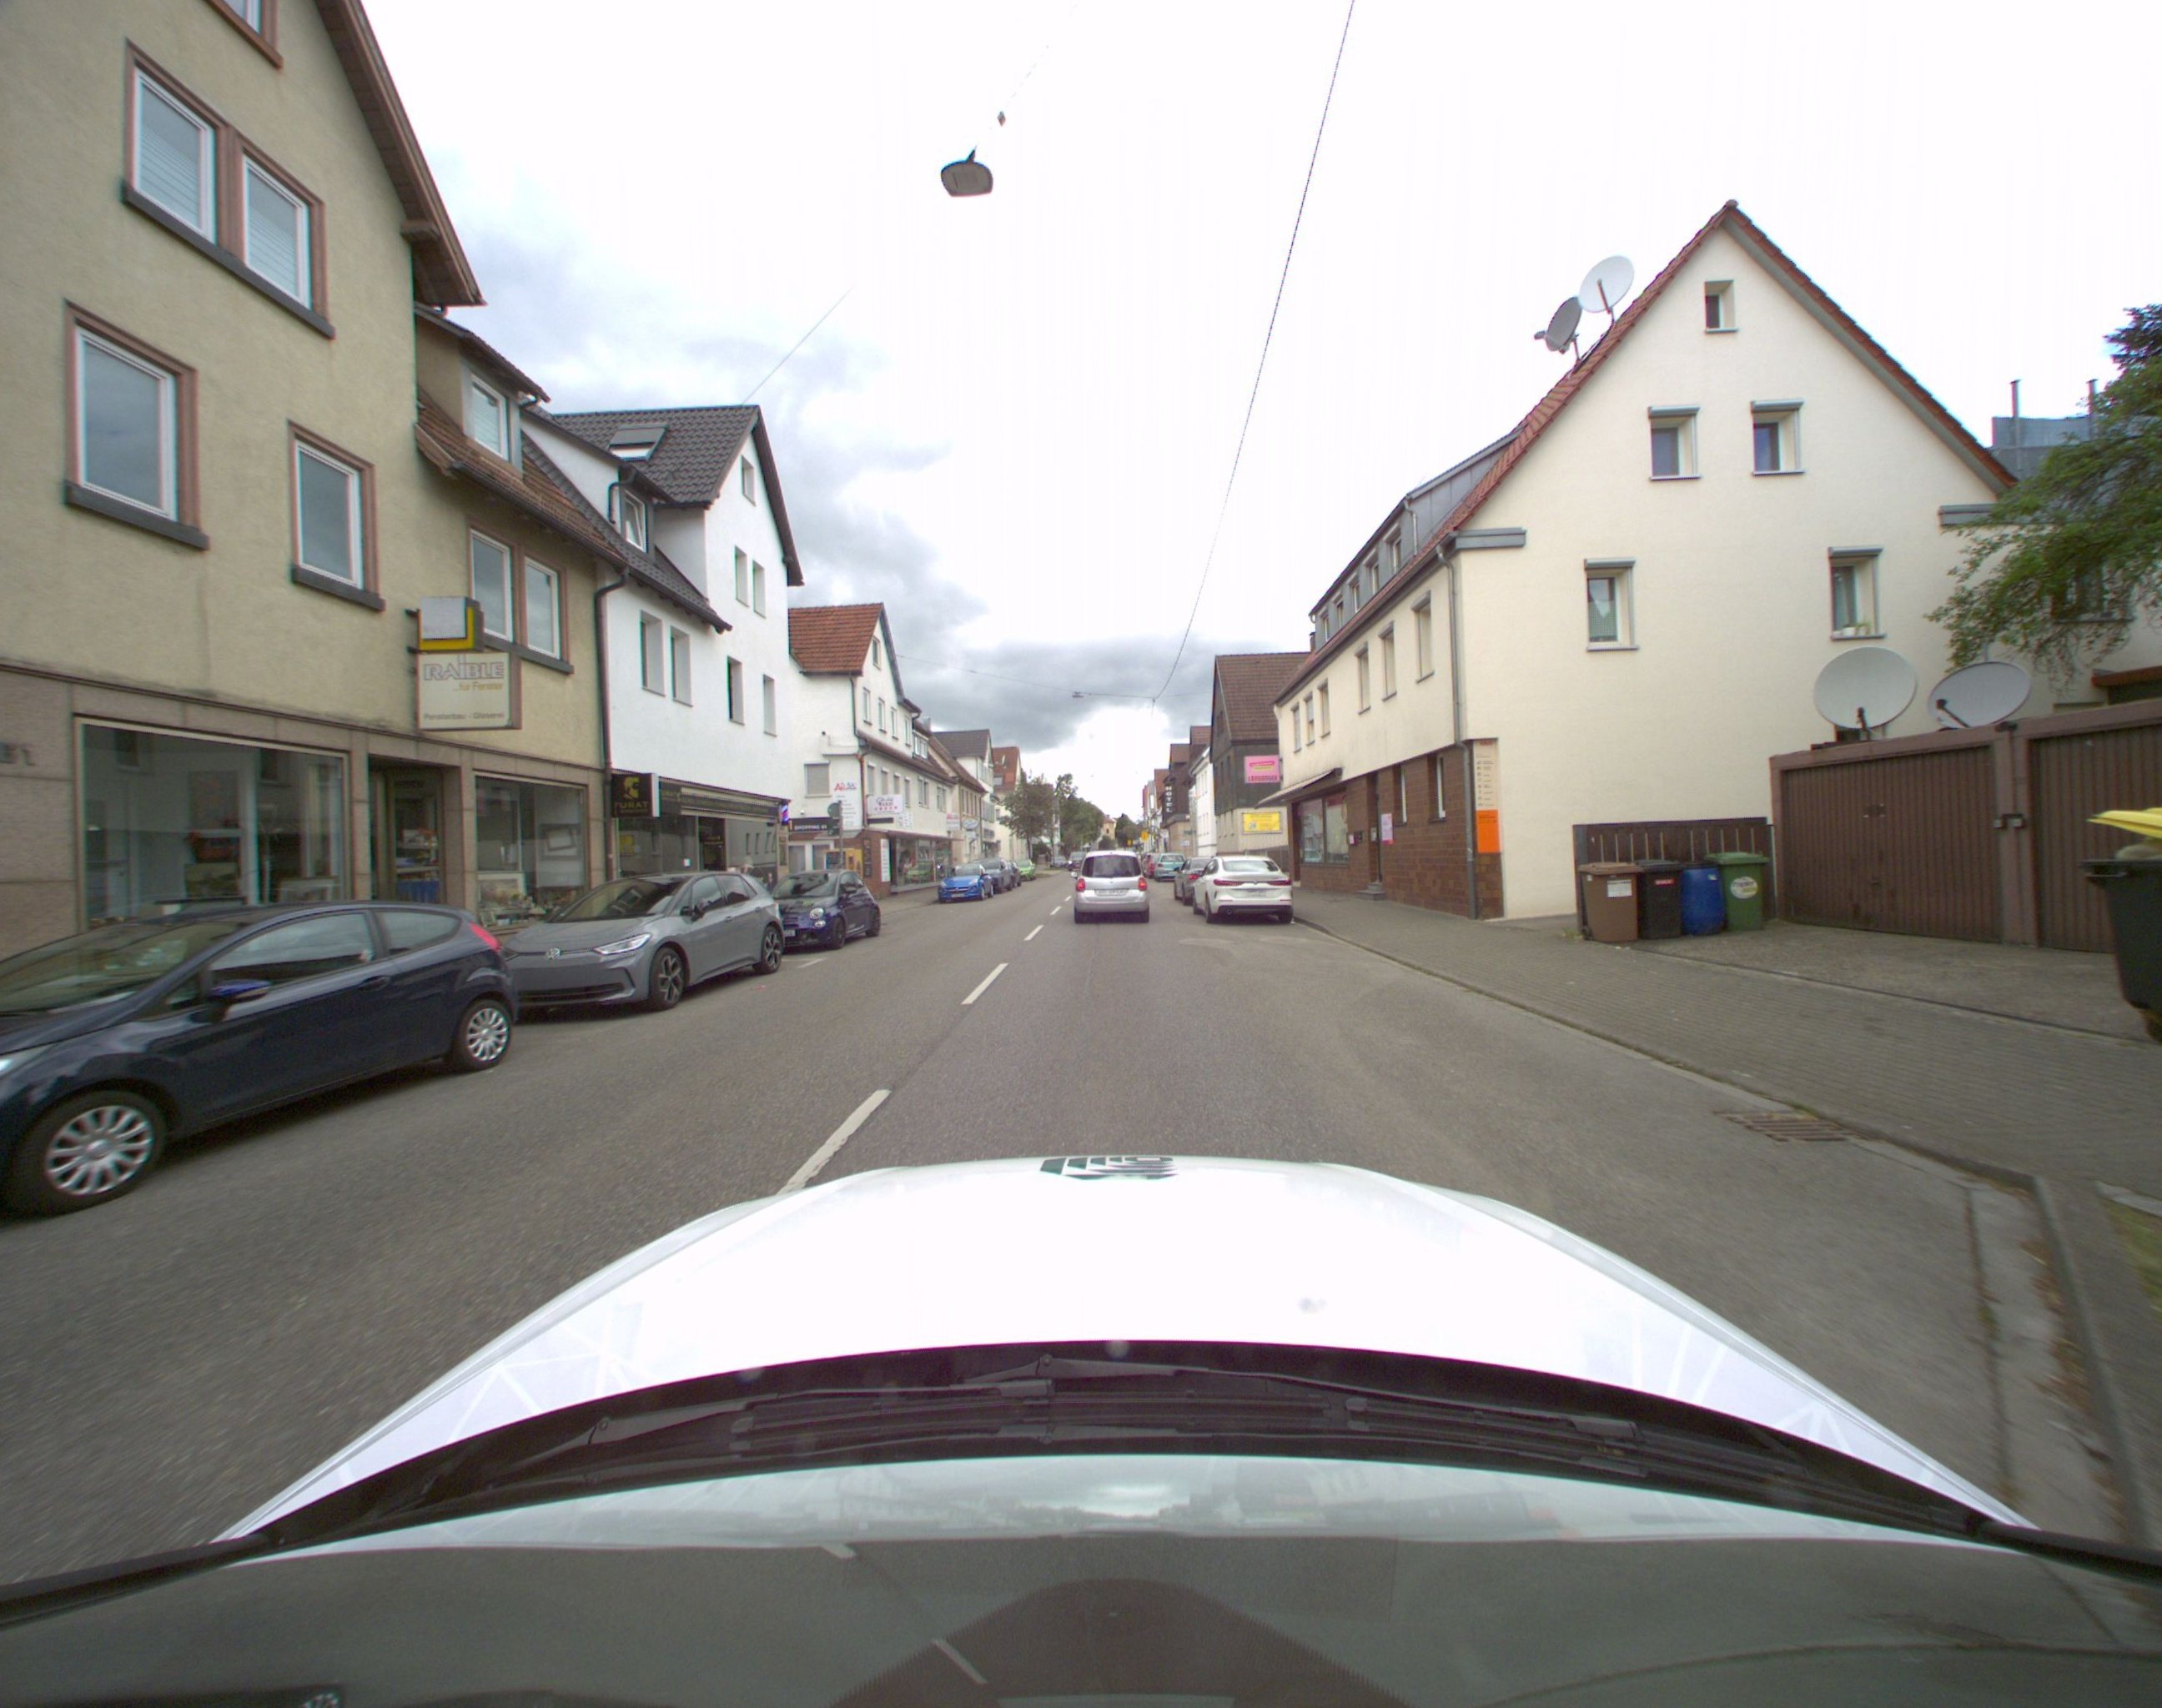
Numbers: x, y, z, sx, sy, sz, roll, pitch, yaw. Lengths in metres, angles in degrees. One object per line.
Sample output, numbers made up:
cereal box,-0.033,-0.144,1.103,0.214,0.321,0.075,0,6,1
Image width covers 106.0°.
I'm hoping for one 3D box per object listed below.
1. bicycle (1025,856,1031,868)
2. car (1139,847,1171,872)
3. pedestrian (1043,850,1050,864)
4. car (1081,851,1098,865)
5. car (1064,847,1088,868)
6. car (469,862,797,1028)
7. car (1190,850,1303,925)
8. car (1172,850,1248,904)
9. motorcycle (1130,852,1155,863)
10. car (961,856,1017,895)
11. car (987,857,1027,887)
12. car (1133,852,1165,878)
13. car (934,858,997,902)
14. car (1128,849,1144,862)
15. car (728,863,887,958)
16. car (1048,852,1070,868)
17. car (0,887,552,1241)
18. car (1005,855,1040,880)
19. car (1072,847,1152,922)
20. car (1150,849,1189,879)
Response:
bicycle,-5.567,0.819,85.131,0.513,1.153,1.666,-1,0,-1
car,4.877,0.350,54.339,1.868,1.539,4.515,-1,0,3
pedestrian,-4.336,0.344,102.753,0.760,1.791,0.890,-1,0,2
car,1.065,0.461,101.116,1.788,1.578,4.194,-4,0,2
car,-0.425,0.318,76.811,1.893,1.737,4.369,-4,0,3
car,-5.371,0.972,10.512,1.703,1.566,4.116,-4,0,3
car,3.570,0.657,18.307,1.823,1.445,4.335,-1,0,3
car,3.774,0.633,24.489,1.823,1.445,4.113,-1,0,3
motorcycle,6.584,0.375,87.230,2.744,1.183,0.694,-1,0,-29
car,-4.213,0.947,37.781,1.796,1.599,4.307,-4,0,3
car,-3.898,0.923,43.455,1.575,1.508,3.815,-1,0,3
car,3.969,0.607,48.002,1.748,1.445,4.458,-1,0,3
car,-4.476,0.988,32.002,1.675,1.499,3.778,-4,0,3
car,6.484,0.198,96.247,1.694,1.467,4.240,-1,0,2
car,-5.191,1.003,15.982,1.675,1.493,3.594,-4,0,3
car,-2.371,0.631,88.911,1.940,1.467,4.519,-4,0,3
car,-5.648,1.065,5.308,1.676,1.424,3.932,-4,0,1
car,-3.786,0.862,53.331,1.676,1.447,4.023,-4,0,3
car,0.759,0.642,19.218,1.675,1.566,3.996,-1,0,3
car,4.628,0.504,43.152,1.823,1.497,3.996,-1,0,3
